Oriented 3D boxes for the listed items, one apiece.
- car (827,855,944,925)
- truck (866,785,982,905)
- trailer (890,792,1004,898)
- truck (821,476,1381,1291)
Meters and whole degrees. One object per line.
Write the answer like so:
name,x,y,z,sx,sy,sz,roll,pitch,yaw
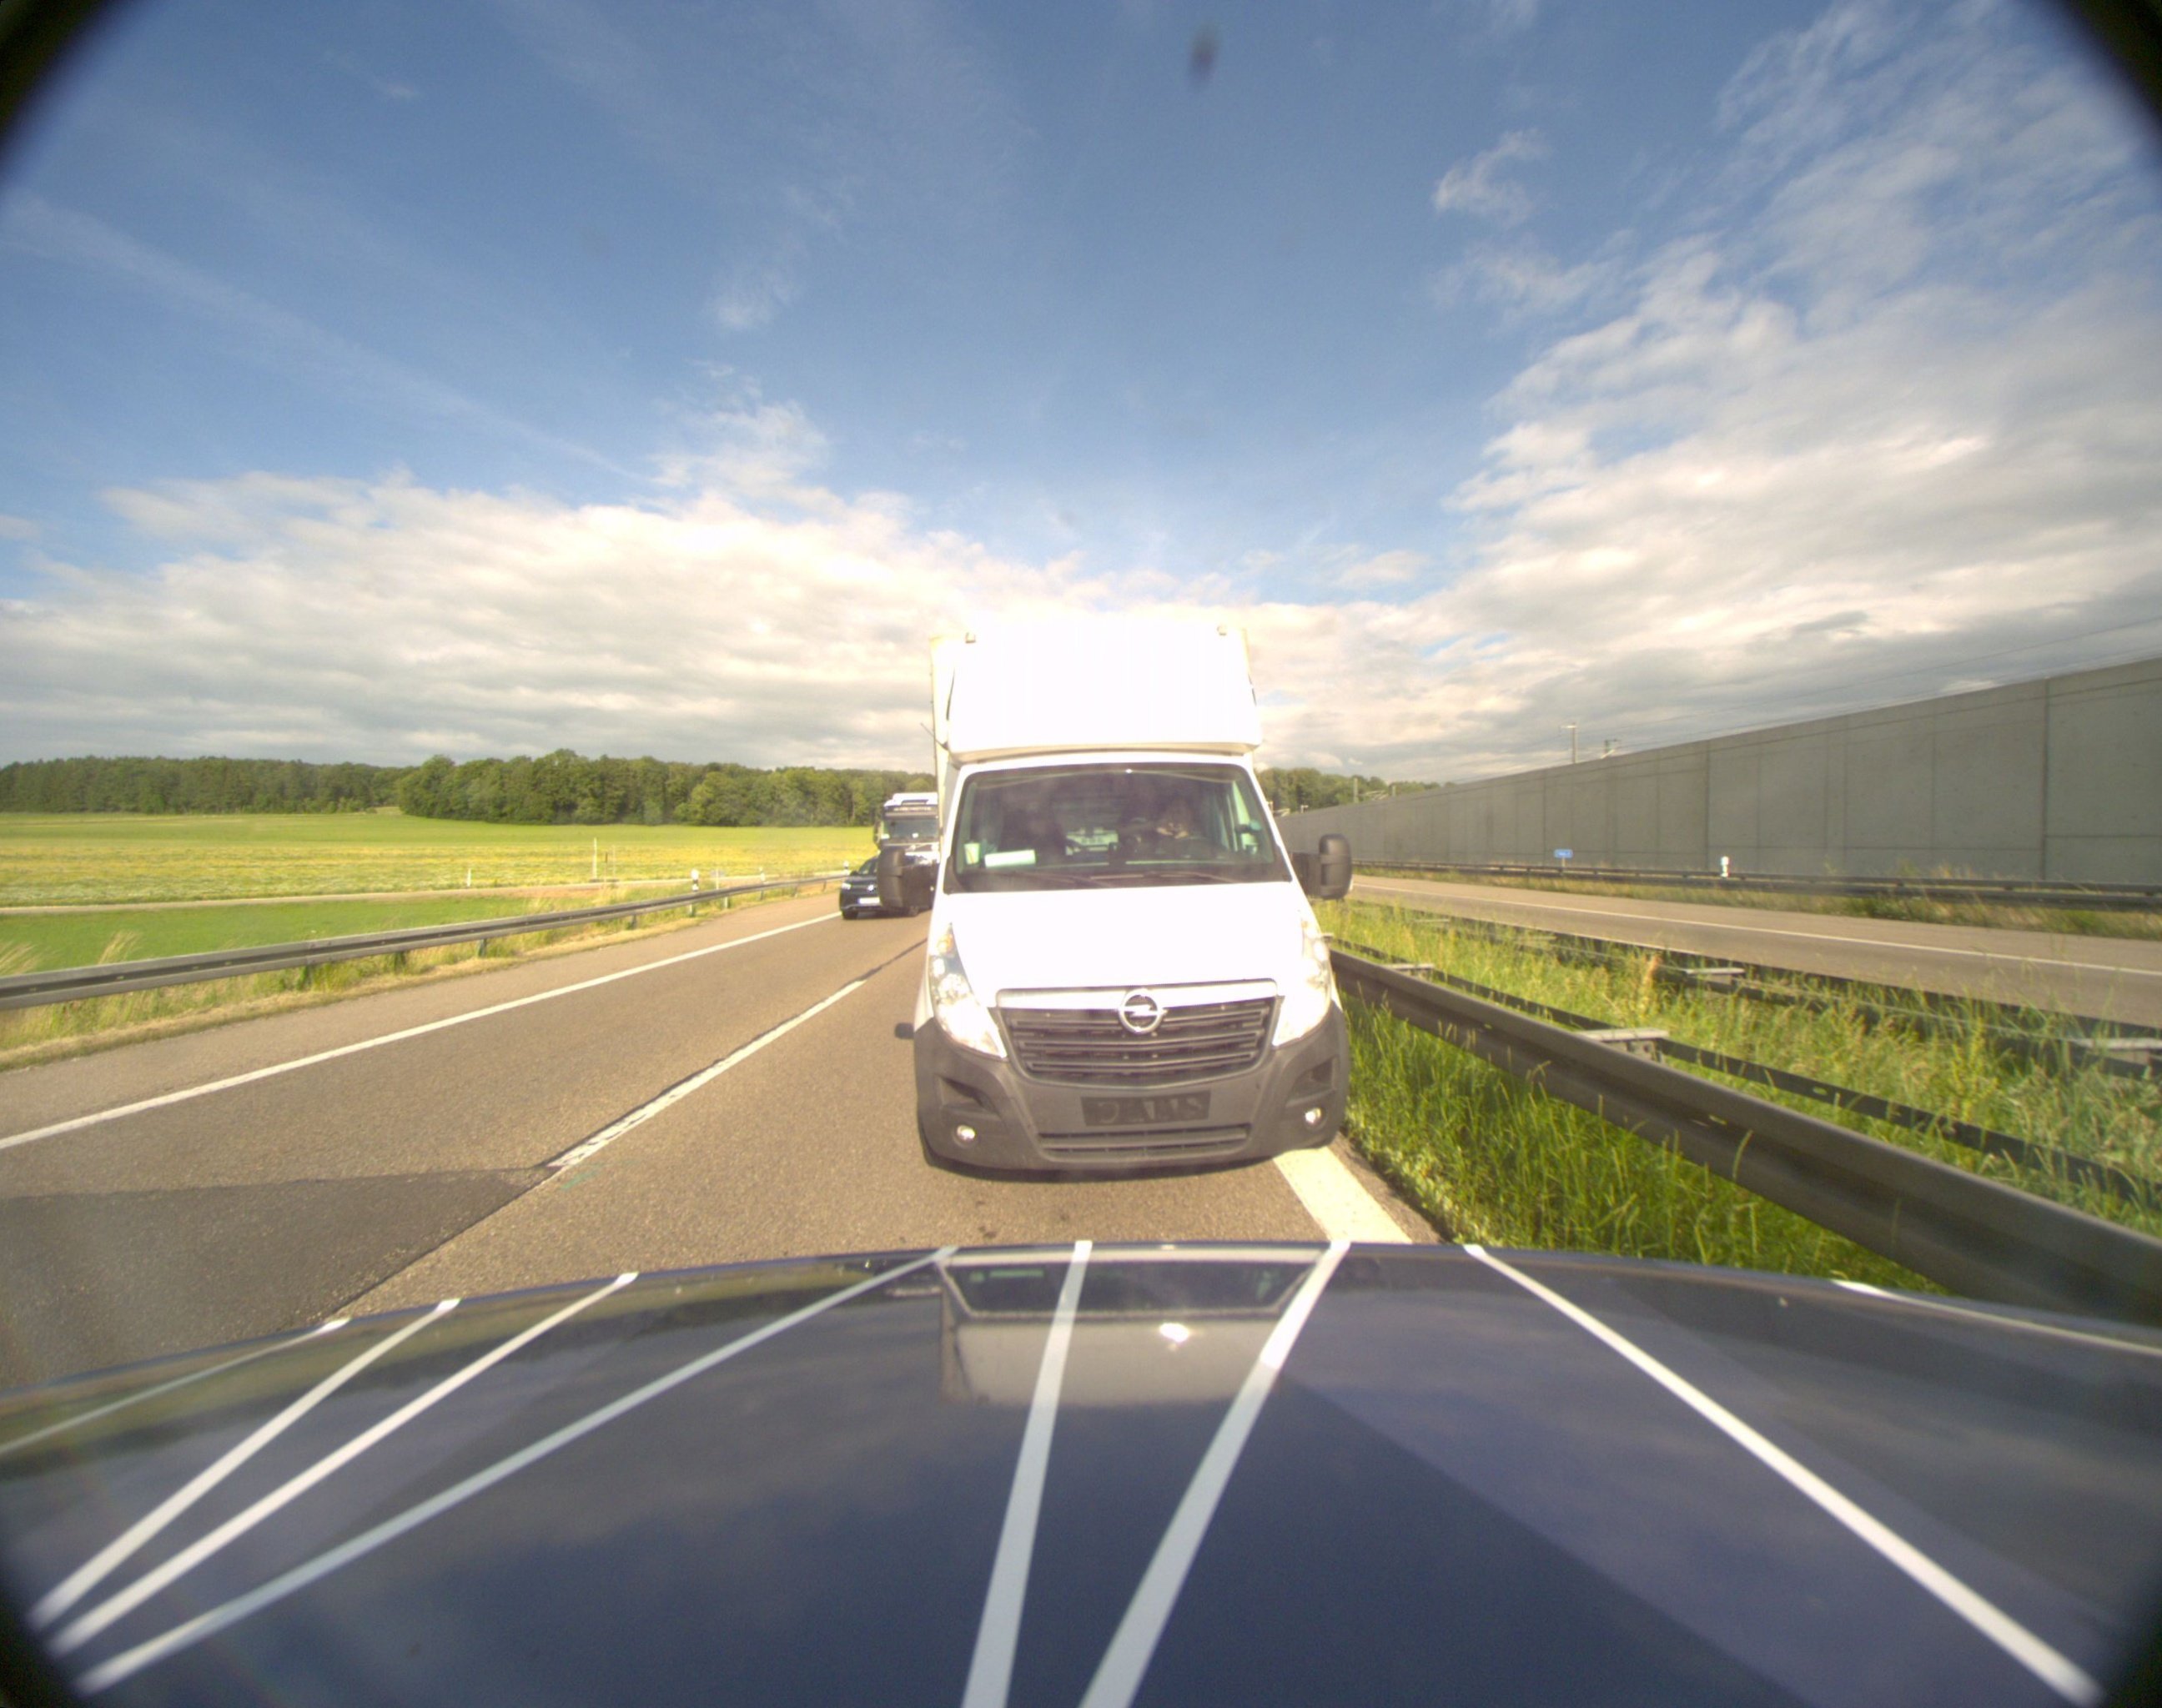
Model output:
car,-5.139,0.887,20.613,1.998,1.587,4.118,-2,1,1
truck,-5.788,-0.341,29.180,2.842,3.967,6.500,-2,1,1
trailer,-5.710,-0.411,35.034,2.826,3.959,12.127,-2,1,1
truck,0.138,0.089,6.842,2.060,3.088,7.803,-2,1,1
